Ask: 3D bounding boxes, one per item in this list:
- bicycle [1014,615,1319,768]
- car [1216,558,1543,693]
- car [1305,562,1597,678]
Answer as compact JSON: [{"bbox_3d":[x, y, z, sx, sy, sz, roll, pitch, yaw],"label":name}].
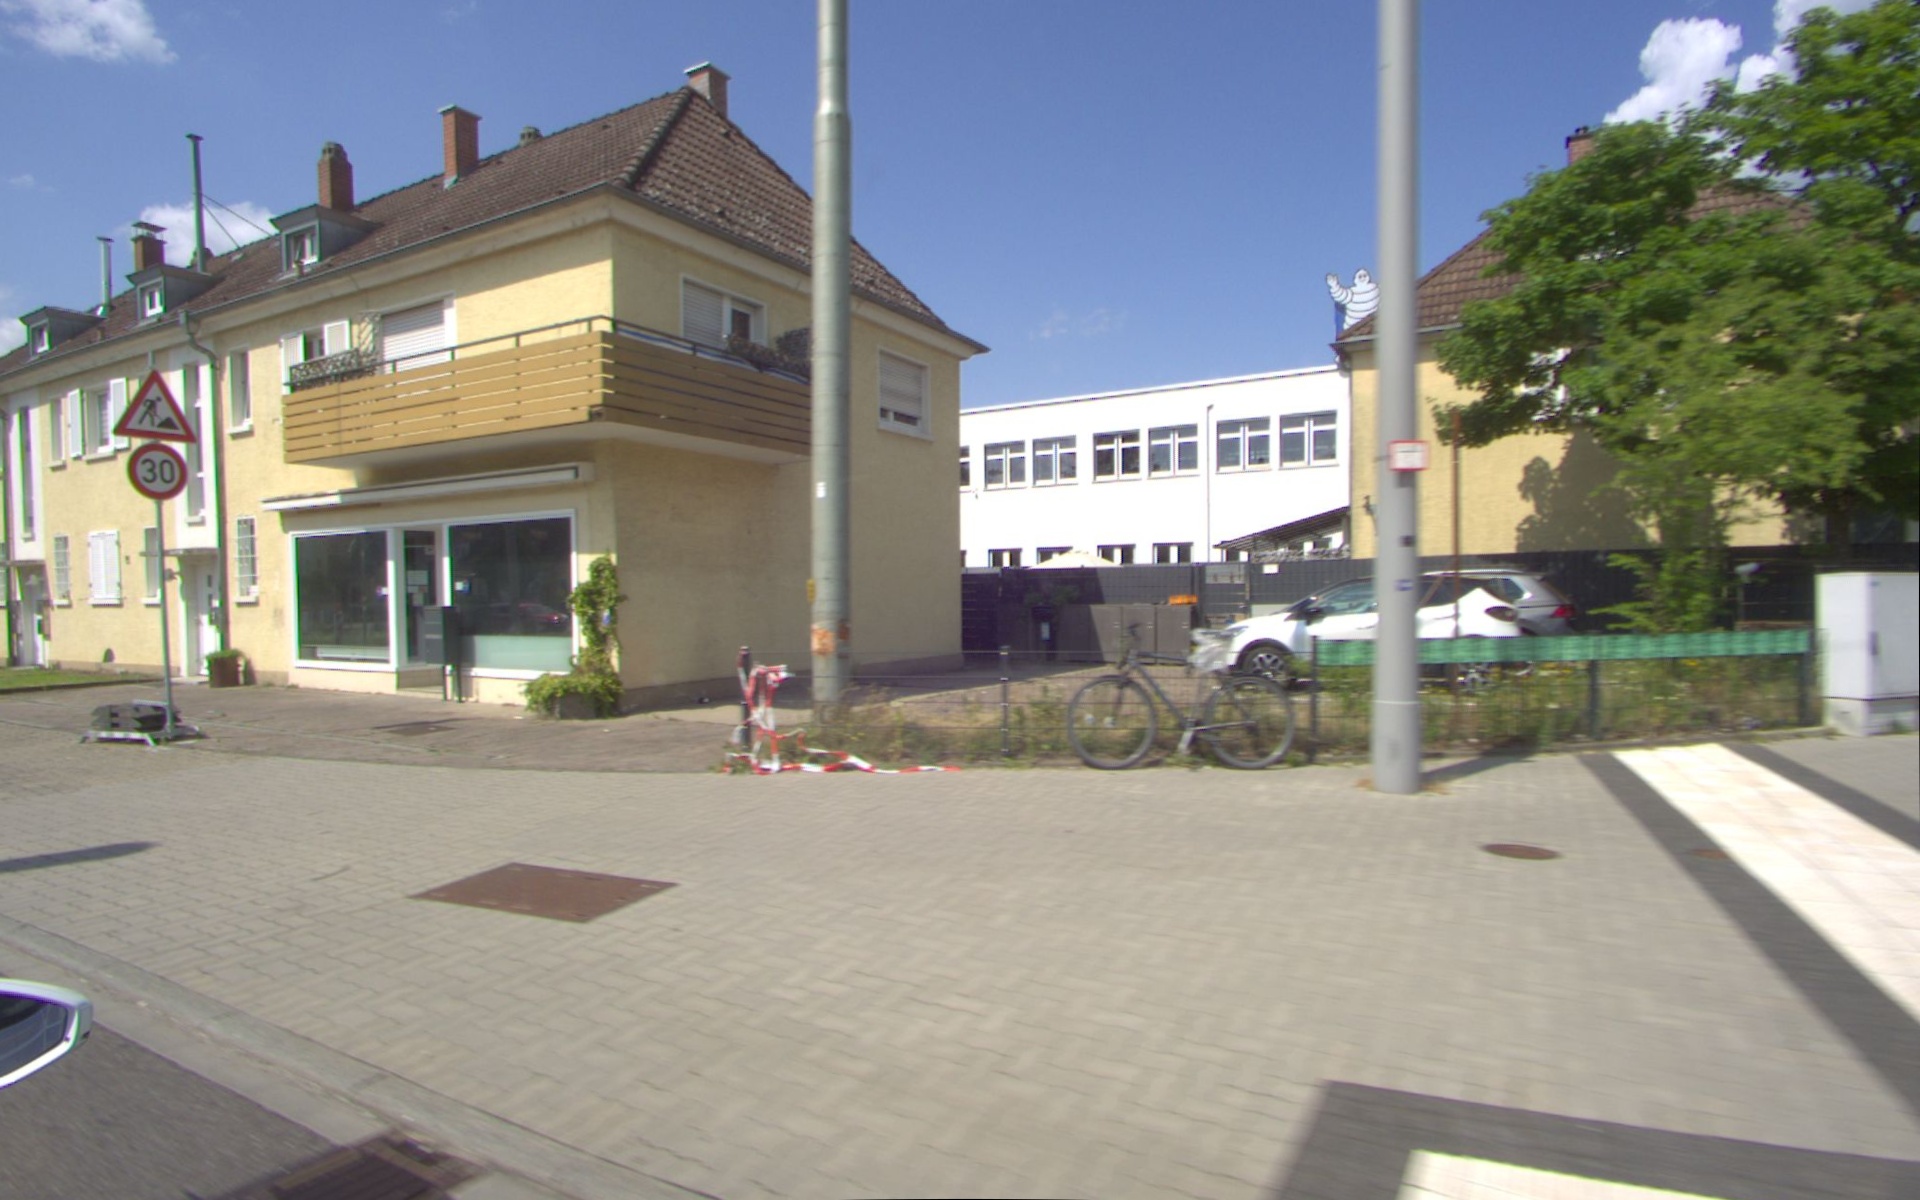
[{"bbox_3d":[1.576,0.687,7.811,2.234,1.111,0.594,-1,1,11],"label":"bicycle"},{"bbox_3d":[5.752,0.354,13.918,3.938,1.642,1.820,-2,0,27],"label":"car"},{"bbox_3d":[7.700,0.326,15.961,3.938,1.642,1.820,-2,0,27],"label":"car"}]
